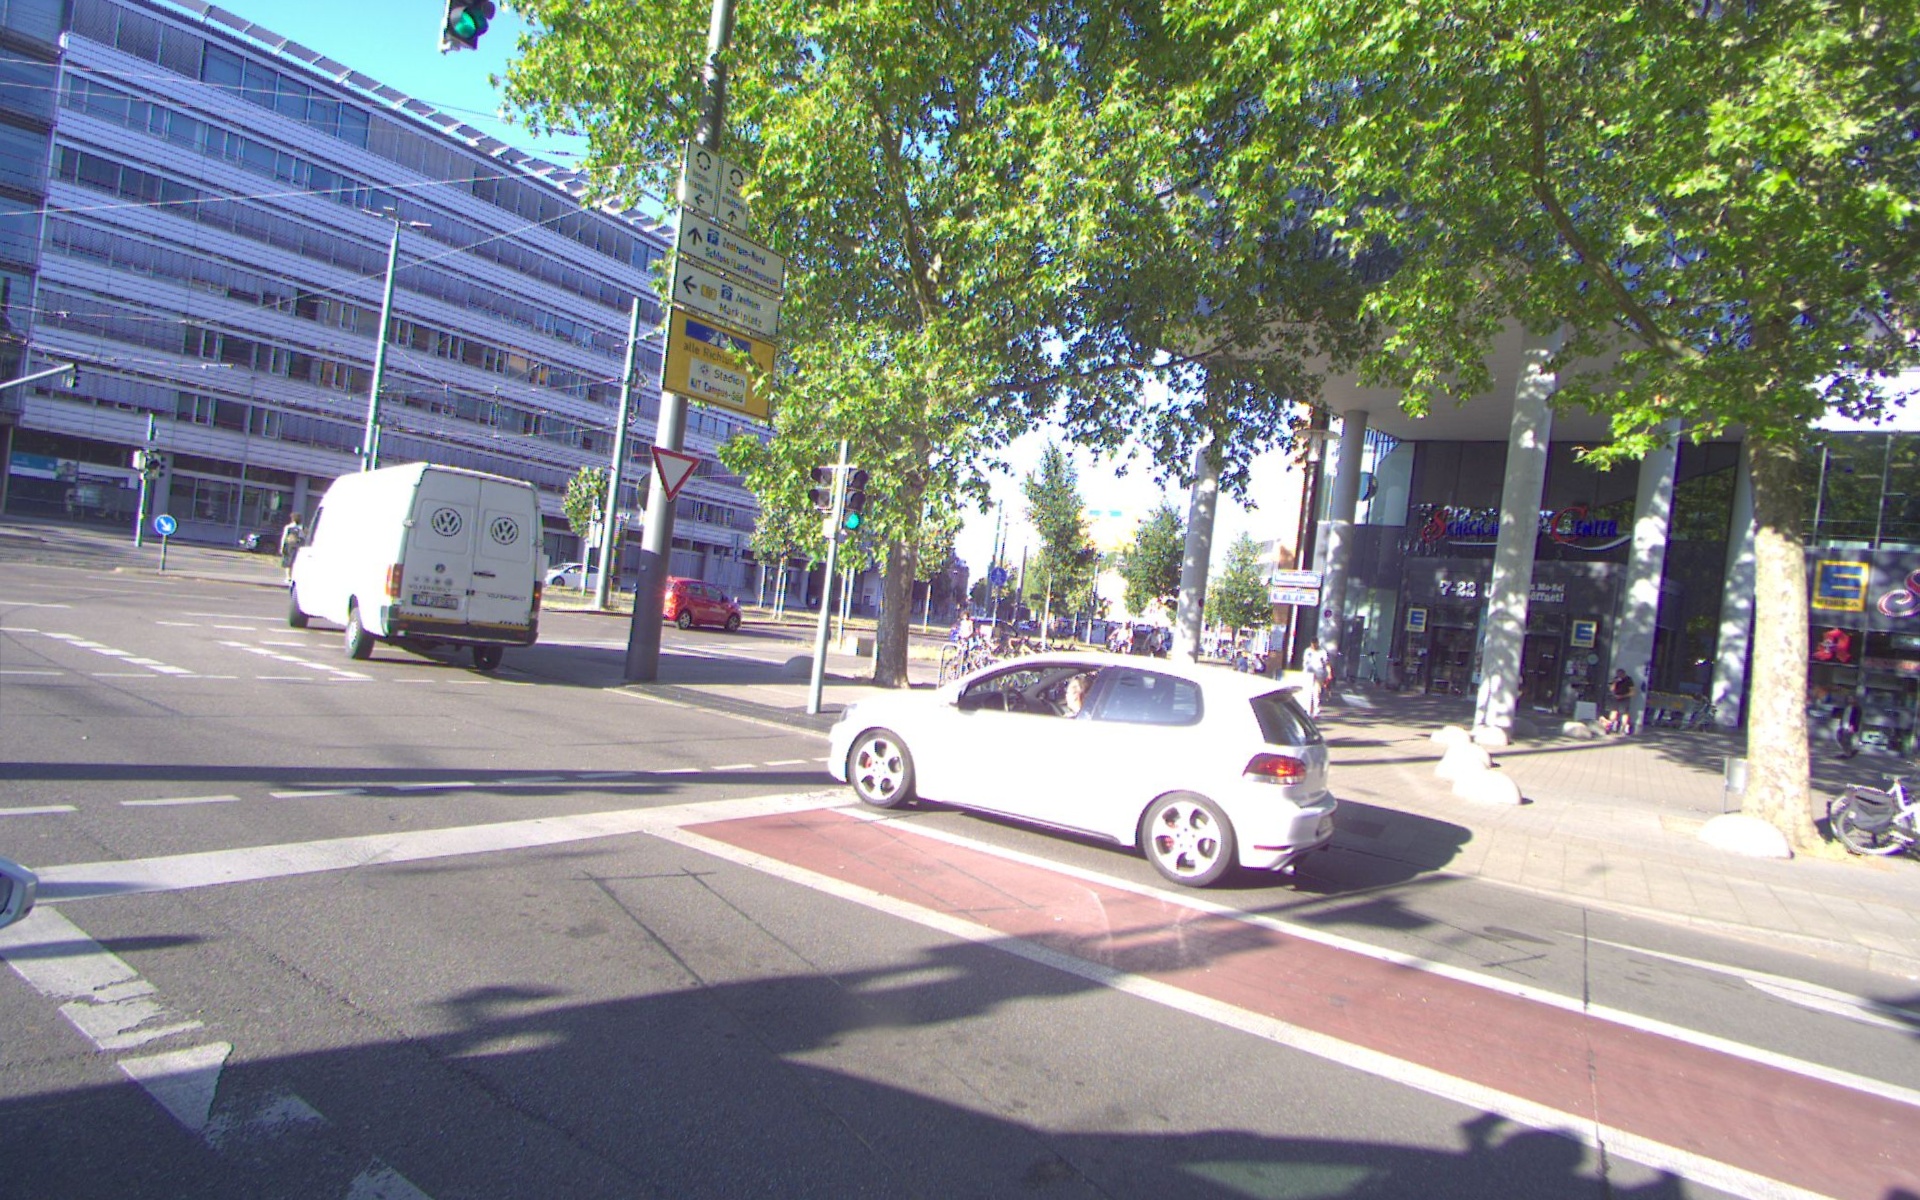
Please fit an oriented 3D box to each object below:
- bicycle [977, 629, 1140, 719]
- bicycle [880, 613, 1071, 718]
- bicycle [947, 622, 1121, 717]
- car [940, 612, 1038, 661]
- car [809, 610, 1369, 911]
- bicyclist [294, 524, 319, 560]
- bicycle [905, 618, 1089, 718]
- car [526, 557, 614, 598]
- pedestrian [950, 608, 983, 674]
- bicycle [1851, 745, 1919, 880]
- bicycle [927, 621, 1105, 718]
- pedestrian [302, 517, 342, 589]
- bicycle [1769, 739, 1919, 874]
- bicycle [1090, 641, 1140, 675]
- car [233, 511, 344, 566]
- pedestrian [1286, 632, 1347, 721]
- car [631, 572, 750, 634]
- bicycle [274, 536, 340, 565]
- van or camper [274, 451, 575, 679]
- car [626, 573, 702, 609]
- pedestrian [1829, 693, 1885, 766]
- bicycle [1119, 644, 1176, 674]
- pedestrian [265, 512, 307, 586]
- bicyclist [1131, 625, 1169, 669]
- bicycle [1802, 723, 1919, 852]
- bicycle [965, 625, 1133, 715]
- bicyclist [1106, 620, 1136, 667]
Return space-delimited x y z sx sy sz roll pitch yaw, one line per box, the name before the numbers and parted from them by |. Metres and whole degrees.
bicycle | 1.810 1.369 18.901 2.896 1.250 0.698 6 -4 31
bicycle | 0.200 1.002 15.718 2.896 1.252 0.705 6 -1 31
bicycle | 1.259 1.193 17.579 2.896 1.251 0.705 6 -3 31
car | 1.208 1.486 40.548 1.727 1.476 4.200 7 -2 37
car | 0.931 1.074 7.916 3.920 1.445 1.638 7 -1 31
bicyclist | -30.115 -2.665 46.362 0.604 1.521 0.663 7 1 37
bicycle | 0.554 1.080 16.317 2.896 1.243 0.686 6 -1 31
car | -21.144 -1.219 54.661 1.852 1.614 3.991 6 -2 35
pedestrian | 0.162 1.064 26.059 0.523 1.644 0.543 7 1 19
bicycle | 10.182 2.178 9.485 2.514 1.234 0.756 5 -2 37
bicycle | 0.909 1.153 16.969 2.896 1.252 0.705 6 -1 32
pedestrian | -16.814 -1.241 26.519 0.734 1.781 0.679 6 1 -33
bicycle | 10.884 2.355 10.436 3.759 1.233 0.757 5 -5 38
bicycle | 5.190 1.918 33.490 0.593 1.028 2.186 7 2 37
car | -33.445 -3.037 50.225 1.967 2.037 3.995 6 -2 32
pedestrian | 8.231 1.755 23.272 0.800 1.913 0.871 5 1 -16
car | -8.187 0.147 30.840 1.468 1.476 3.597 7 -1 24
bicycle | -30.111 -2.285 46.428 0.627 1.035 2.409 7 0 36
van or camper | -8.171 -0.611 14.903 1.994 2.647 6.415 7 0 -45
car | -18.273 -0.561 62.205 1.852 1.614 4.121 6 -2 35
pedestrian | 23.516 3.379 26.395 0.824 1.765 0.644 7 1 32
bicycle | 7.203 2.281 38.615 2.077 0.964 0.742 6 1 -31
pedestrian | -17.328 -1.309 25.877 0.672 1.781 0.736 6 1 -29
bicyclist | 7.307 1.801 38.634 1.019 1.586 0.802 5 0 -31
bicycle | 11.675 2.356 10.883 3.757 1.235 0.727 10 1 38
bicycle | 1.572 1.246 18.184 2.896 1.252 0.705 6 -1 31
bicyclist | 5.381 1.462 33.685 0.584 1.504 0.748 6 2 37
